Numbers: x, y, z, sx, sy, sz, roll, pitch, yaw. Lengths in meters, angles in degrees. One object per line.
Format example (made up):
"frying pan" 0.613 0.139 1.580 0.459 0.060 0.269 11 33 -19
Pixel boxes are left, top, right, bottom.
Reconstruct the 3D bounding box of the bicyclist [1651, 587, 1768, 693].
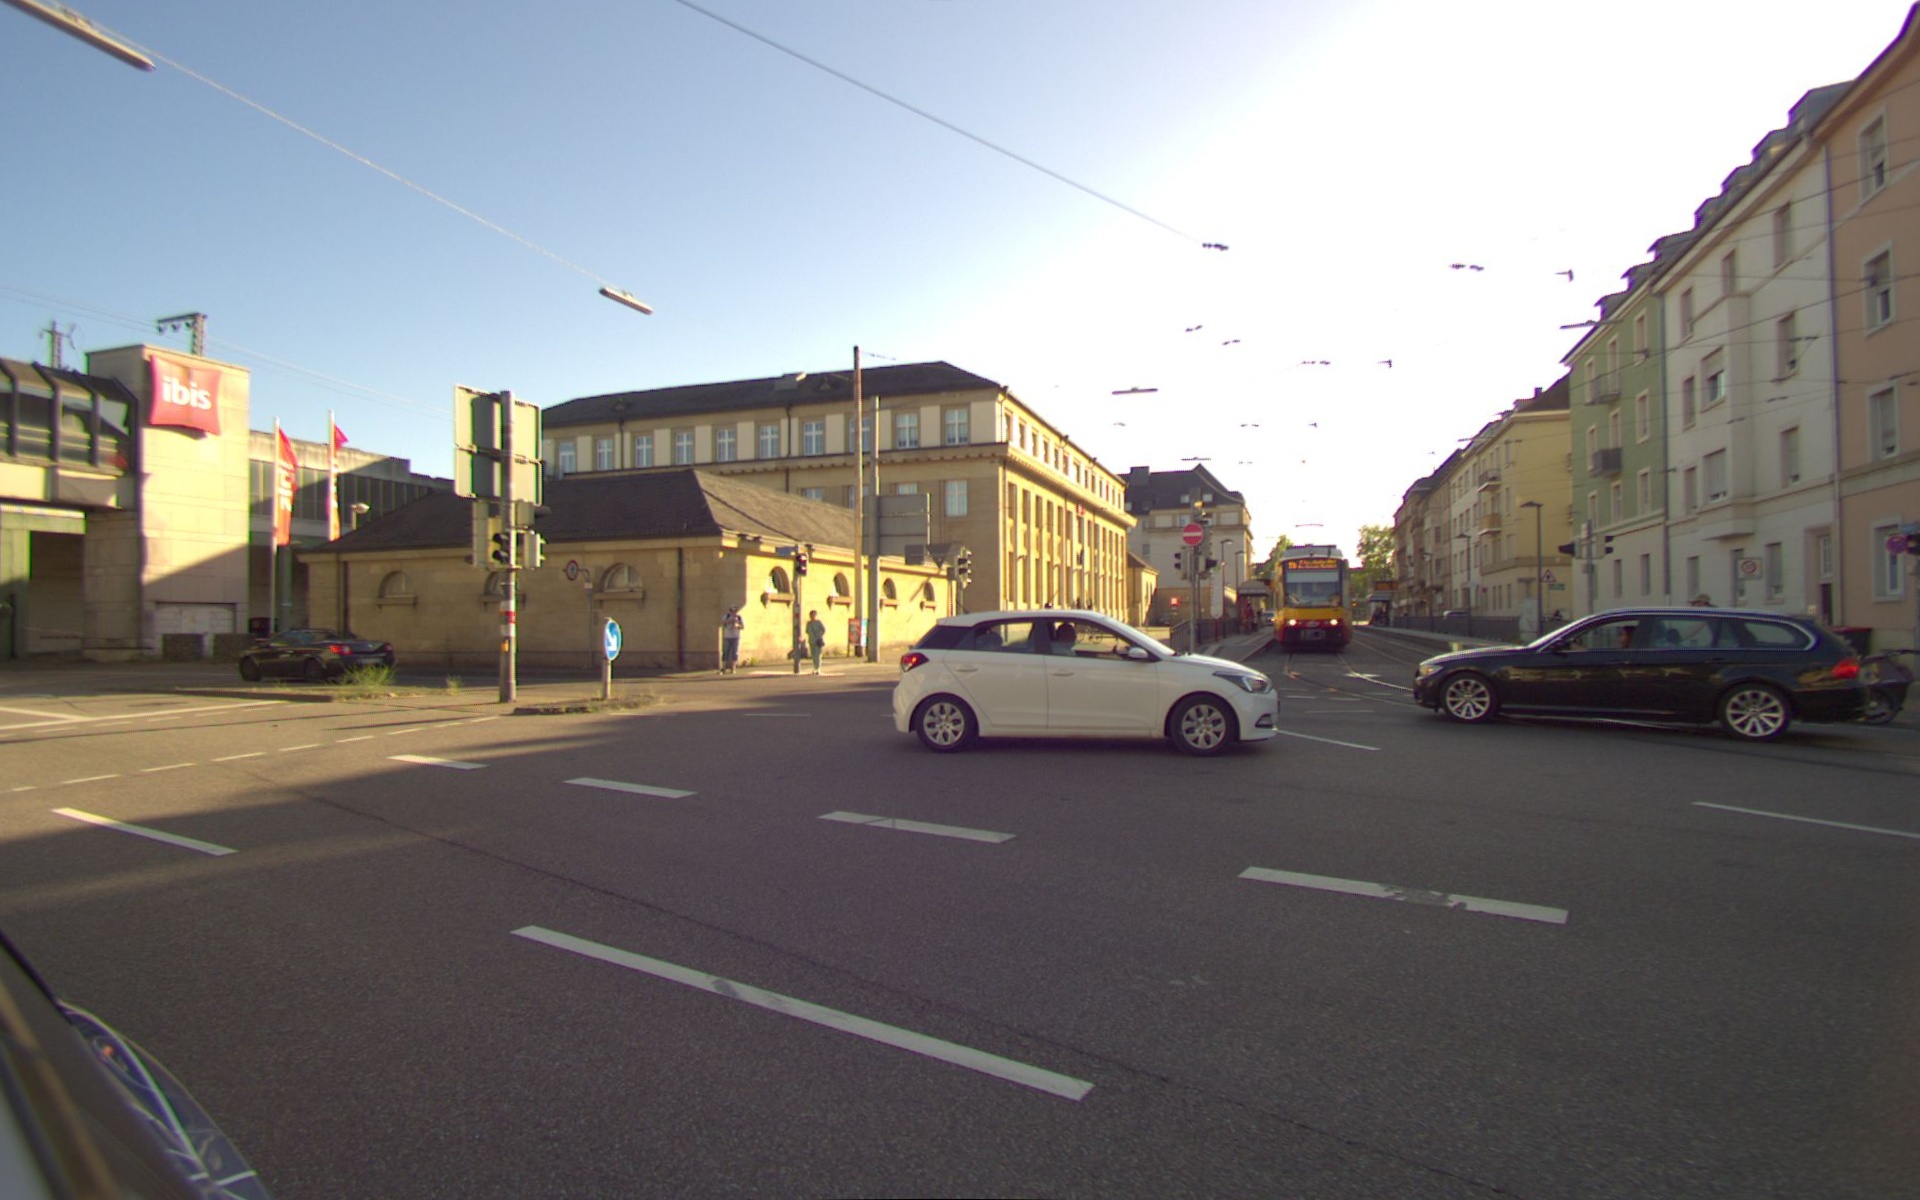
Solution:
"bicyclist" 10.398 0.542 14.050 0.923 1.393 1.148 1 -2 -45

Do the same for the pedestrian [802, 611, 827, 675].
"pedestrian" -3.774 1.108 26.308 0.616 1.652 0.490 0 -1 -7

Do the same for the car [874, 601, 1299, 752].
"car" 1.287 0.758 10.649 4.060 1.404 1.786 -1 -1 11

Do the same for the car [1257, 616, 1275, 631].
"car" 37.749 2.905 124.778 1.985 1.829 4.342 -1 -1 20

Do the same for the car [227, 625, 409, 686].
"car" -16.264 1.381 25.645 4.300 1.436 1.815 -1 -1 23

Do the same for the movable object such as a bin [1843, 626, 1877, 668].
"movable object such as a bin" 22.936 1.197 25.794 0.479 1.040 0.448 -1 -1 19

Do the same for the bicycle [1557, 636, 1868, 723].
"bicycle" 10.342 1.038 14.097 0.923 1.064 3.356 1 -2 -44

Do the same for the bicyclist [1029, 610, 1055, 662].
"bicyclist" 2.651 1.145 32.559 0.671 1.652 0.935 -1 -1 14

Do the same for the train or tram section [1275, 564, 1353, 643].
"train or tram section" 17.135 0.185 49.231 3.141 3.382 10.614 -1 0 19

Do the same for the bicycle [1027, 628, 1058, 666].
"bicycle" 2.660 1.492 32.534 0.679 1.145 2.065 -1 0 13

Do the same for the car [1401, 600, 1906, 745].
"car" 7.858 0.758 11.950 4.552 1.403 1.976 -1 -2 36

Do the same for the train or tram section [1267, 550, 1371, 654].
"train or tram section" 13.600 0.194 38.677 3.143 3.346 11.743 -1 -1 19

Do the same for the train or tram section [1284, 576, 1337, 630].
"train or tram section" 24.010 0.200 69.559 3.141 3.382 10.782 -1 0 19

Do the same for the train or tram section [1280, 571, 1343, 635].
"train or tram section" 20.547 0.193 59.372 3.141 3.382 10.782 -1 0 19

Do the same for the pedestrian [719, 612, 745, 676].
"pedestrian" -6.009 1.146 26.640 0.616 1.652 0.515 0 -1 -7
